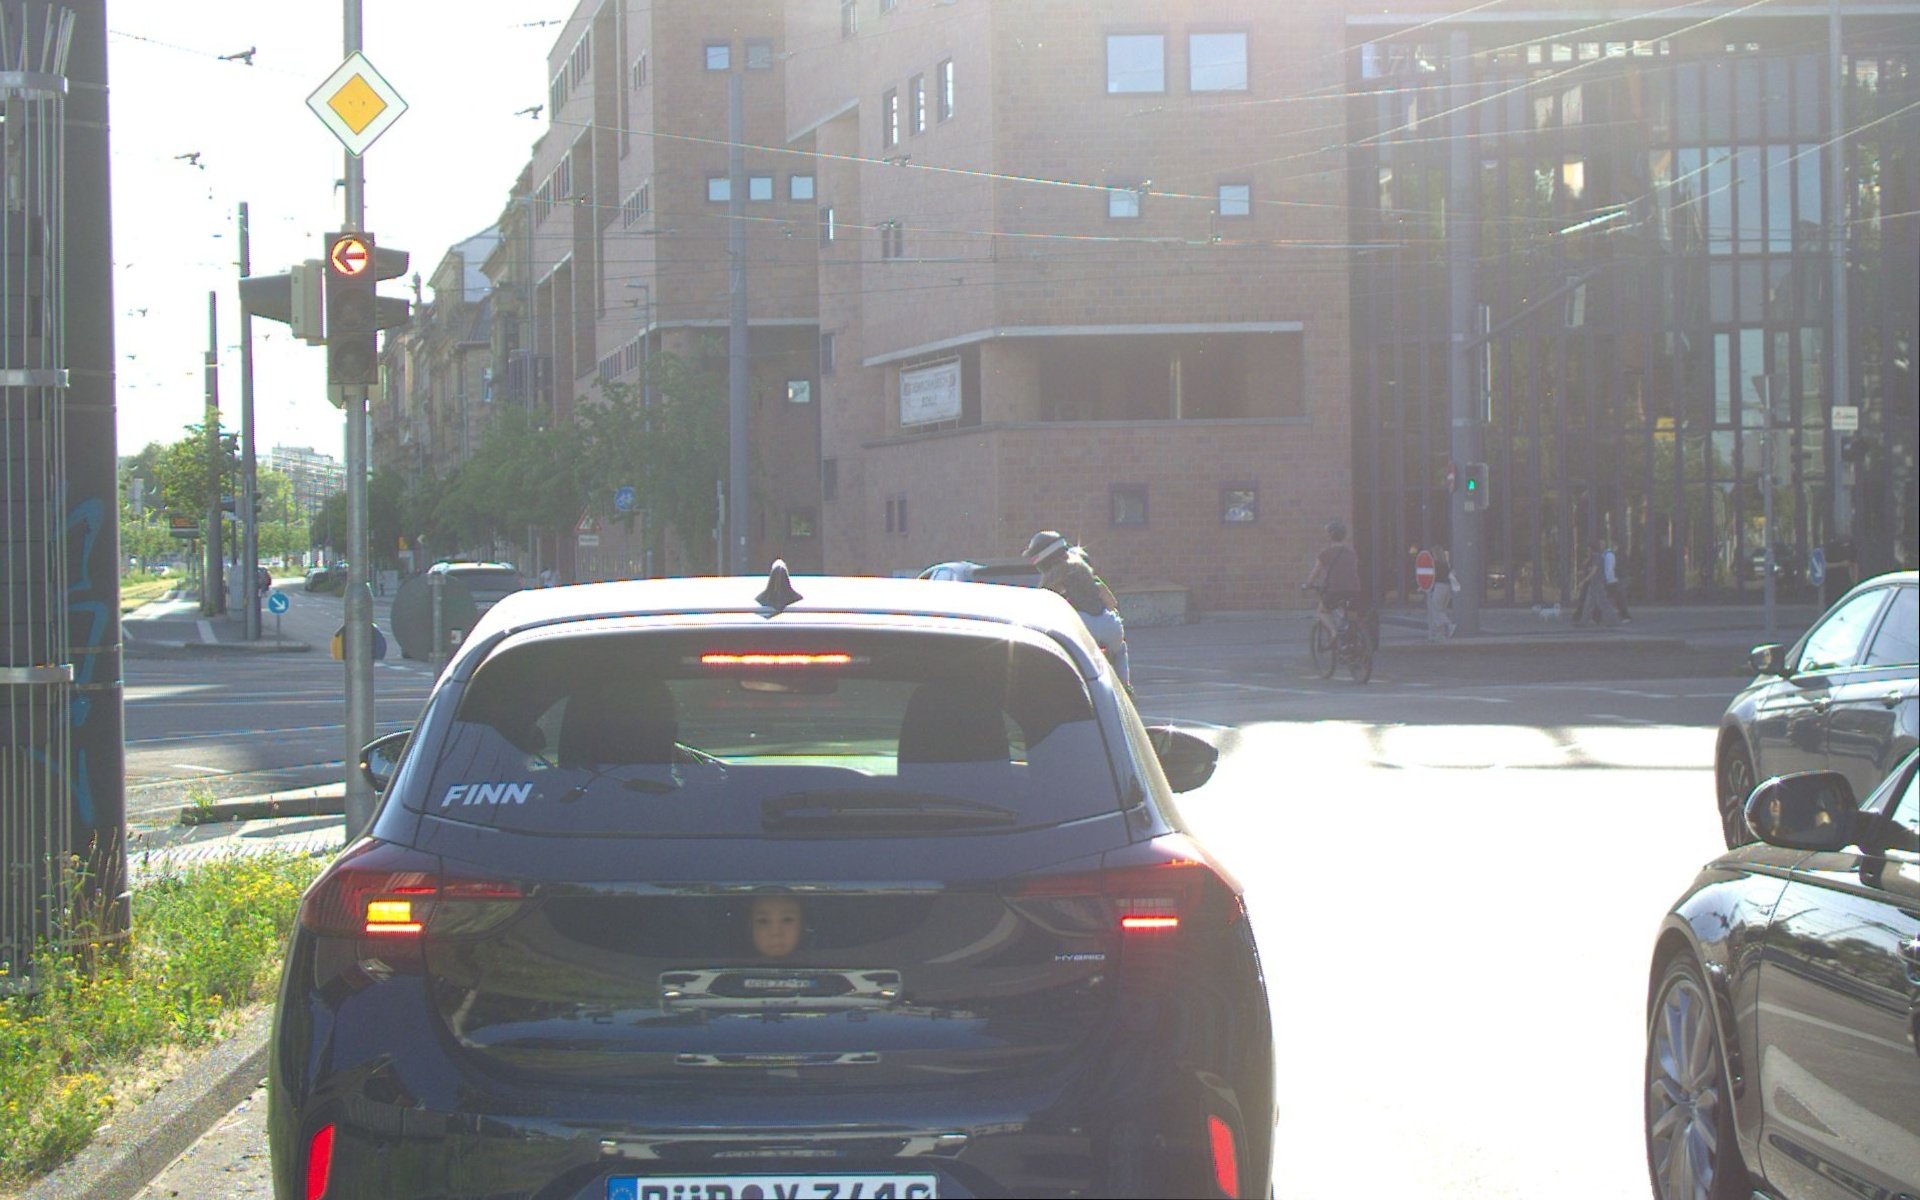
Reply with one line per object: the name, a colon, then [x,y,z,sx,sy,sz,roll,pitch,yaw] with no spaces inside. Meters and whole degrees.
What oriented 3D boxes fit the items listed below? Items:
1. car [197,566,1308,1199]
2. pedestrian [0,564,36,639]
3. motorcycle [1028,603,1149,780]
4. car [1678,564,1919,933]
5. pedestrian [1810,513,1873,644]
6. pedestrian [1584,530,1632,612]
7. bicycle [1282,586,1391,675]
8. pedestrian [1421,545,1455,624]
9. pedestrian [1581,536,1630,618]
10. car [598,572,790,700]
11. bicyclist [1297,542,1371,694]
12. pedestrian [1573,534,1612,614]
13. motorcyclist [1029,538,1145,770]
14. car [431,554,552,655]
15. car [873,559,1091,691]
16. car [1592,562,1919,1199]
car: [-0.285,0.661,7.131,1.649,1.428,4.000,-1,1,1]
pedestrian: [-20.896,0.024,76.045,0.765,1.634,0.744,-1,1,-9]
motorcycle: [0.884,0.600,23.474,0.775,1.111,1.969,-1,1,3]
car: [4.661,0.587,15.464,1.807,1.452,4.001,0,1,-3]
pedestrian: [11.900,-0.290,46.402,0.707,1.753,0.560,0,1,25]
pedestrian: [12.897,-0.572,68.436,0.900,1.611,0.560,-1,1,8]
bicycle: [4.464,0.348,40.880,0.491,0.994,2.329,-1,1,-14]
pedestrian: [8.771,-0.284,63.076,0.529,1.425,0.598,-1,1,-1]
pedestrian: [12.695,-0.455,67.605,0.900,1.611,0.560,-1,1,8]
car: [-3.074,0.367,39.070,1.737,1.345,4.001,-1,1,-11]
bicyclist: [4.443,0.206,40.854,0.577,1.785,0.864,-1,1,-15]
pedestrian: [12.828,-0.530,69.701,0.738,1.611,0.560,-1,1,8]
motorcyclist: [0.864,0.349,23.197,0.745,1.525,1.021,-1,1,3]
car: [-7.985,0.046,58.361,1.737,1.645,4.001,-1,1,-12]
car: [0.203,0.260,40.652,1.807,1.452,4.001,0,1,-11]
car: [2.410,0.706,5.452,1.811,1.487,4.496,1,0,-2]
